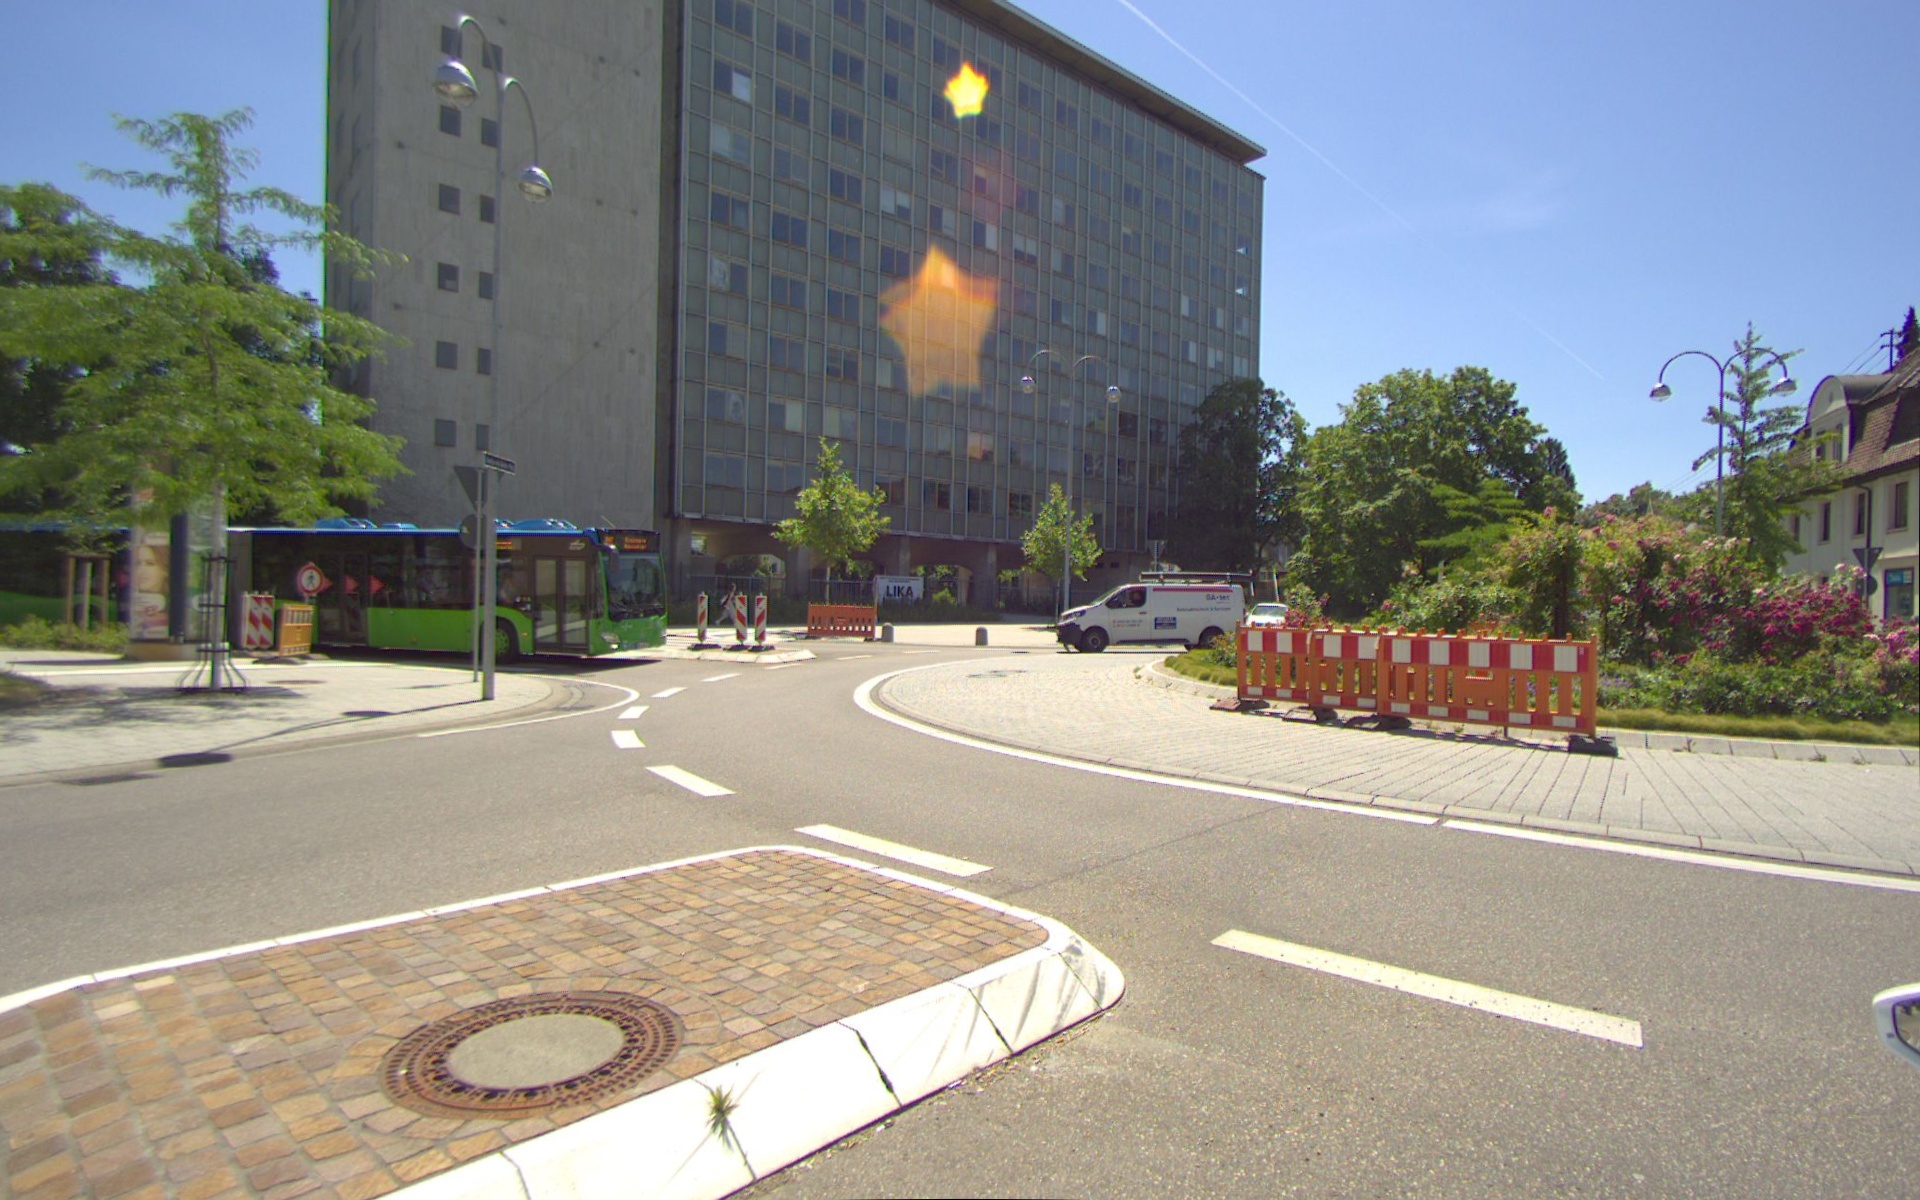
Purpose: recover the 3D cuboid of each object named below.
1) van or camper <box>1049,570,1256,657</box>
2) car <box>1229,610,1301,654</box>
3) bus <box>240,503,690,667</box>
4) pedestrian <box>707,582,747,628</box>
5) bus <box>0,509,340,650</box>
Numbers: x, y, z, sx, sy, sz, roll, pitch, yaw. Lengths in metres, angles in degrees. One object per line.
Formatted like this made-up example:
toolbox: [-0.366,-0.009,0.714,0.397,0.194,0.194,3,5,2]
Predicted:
van or camper: [5.291,0.371,28.020,5.308,2.200,1.999,2,0,-3]
car: [12.128,1.255,39.859,1.760,1.618,3.911,1,-1,32]
bus: [-11.465,-0.423,23.334,9.881,3.369,2.964,1,2,15]
pedestrian: [-8.541,0.187,36.846,1.263,1.606,0.944,2,0,-21]
bus: [-20.616,-0.605,25.543,8.742,3.152,2.831,2,2,12]
